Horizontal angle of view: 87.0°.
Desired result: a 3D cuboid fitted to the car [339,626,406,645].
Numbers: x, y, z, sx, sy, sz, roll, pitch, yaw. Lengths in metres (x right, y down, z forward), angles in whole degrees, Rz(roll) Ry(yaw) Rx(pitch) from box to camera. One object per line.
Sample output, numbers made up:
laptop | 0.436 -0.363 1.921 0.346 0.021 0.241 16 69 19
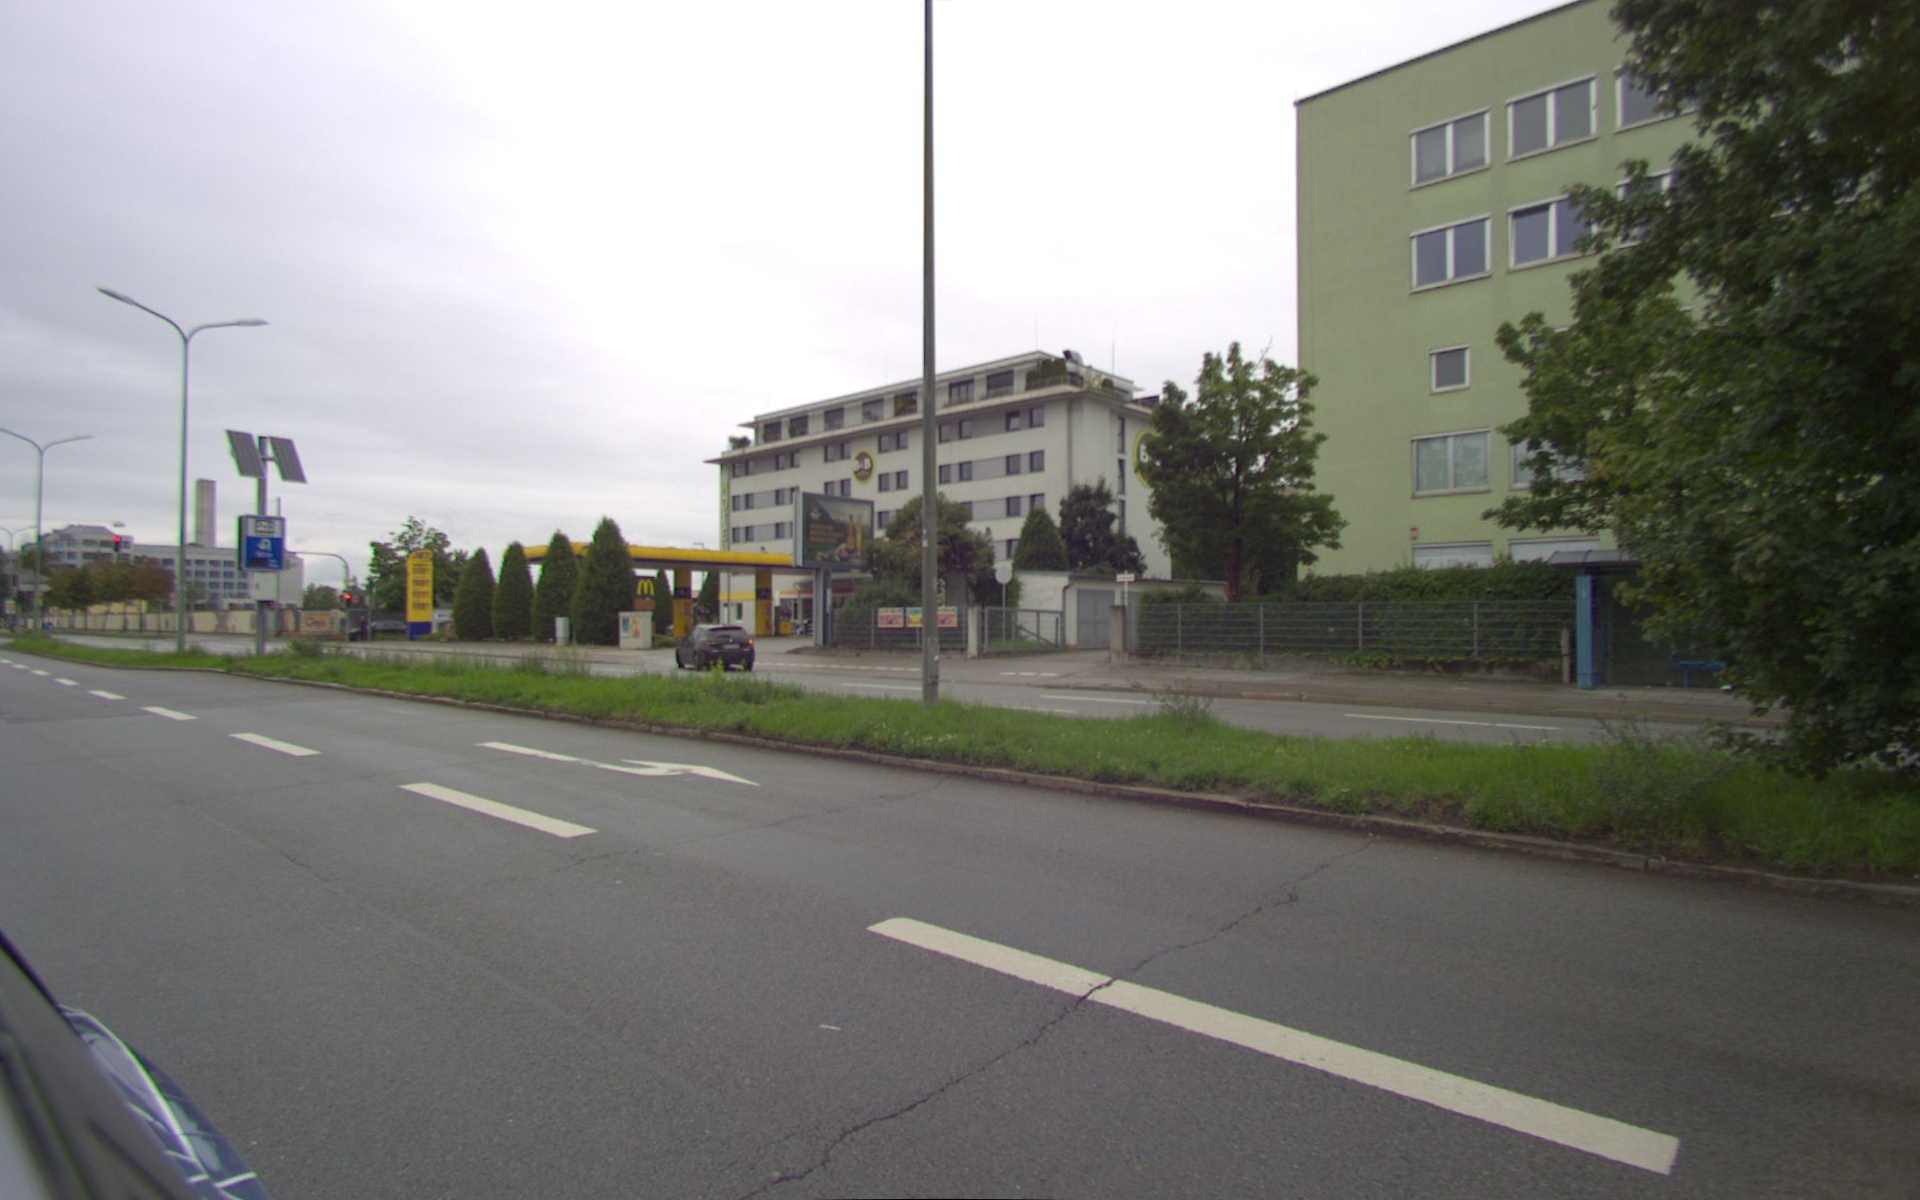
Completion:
car | -46.167 2.790 79.575 2.001 1.439 4.202 -2 -2 45

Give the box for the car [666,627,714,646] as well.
car | -22.375 2.994 83.731 4.192 1.489 1.882 -2 -3 42

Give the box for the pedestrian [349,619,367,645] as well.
pedestrian | -38.811 2.052 65.259 0.687 1.627 0.794 -2 0 41

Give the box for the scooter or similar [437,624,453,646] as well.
scooter or similar | -29.631 2.019 58.194 0.351 1.252 1.547 -2 0 -43

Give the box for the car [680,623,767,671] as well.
car | -7.636 1.499 32.325 1.965 1.412 4.669 2 -3 -22
